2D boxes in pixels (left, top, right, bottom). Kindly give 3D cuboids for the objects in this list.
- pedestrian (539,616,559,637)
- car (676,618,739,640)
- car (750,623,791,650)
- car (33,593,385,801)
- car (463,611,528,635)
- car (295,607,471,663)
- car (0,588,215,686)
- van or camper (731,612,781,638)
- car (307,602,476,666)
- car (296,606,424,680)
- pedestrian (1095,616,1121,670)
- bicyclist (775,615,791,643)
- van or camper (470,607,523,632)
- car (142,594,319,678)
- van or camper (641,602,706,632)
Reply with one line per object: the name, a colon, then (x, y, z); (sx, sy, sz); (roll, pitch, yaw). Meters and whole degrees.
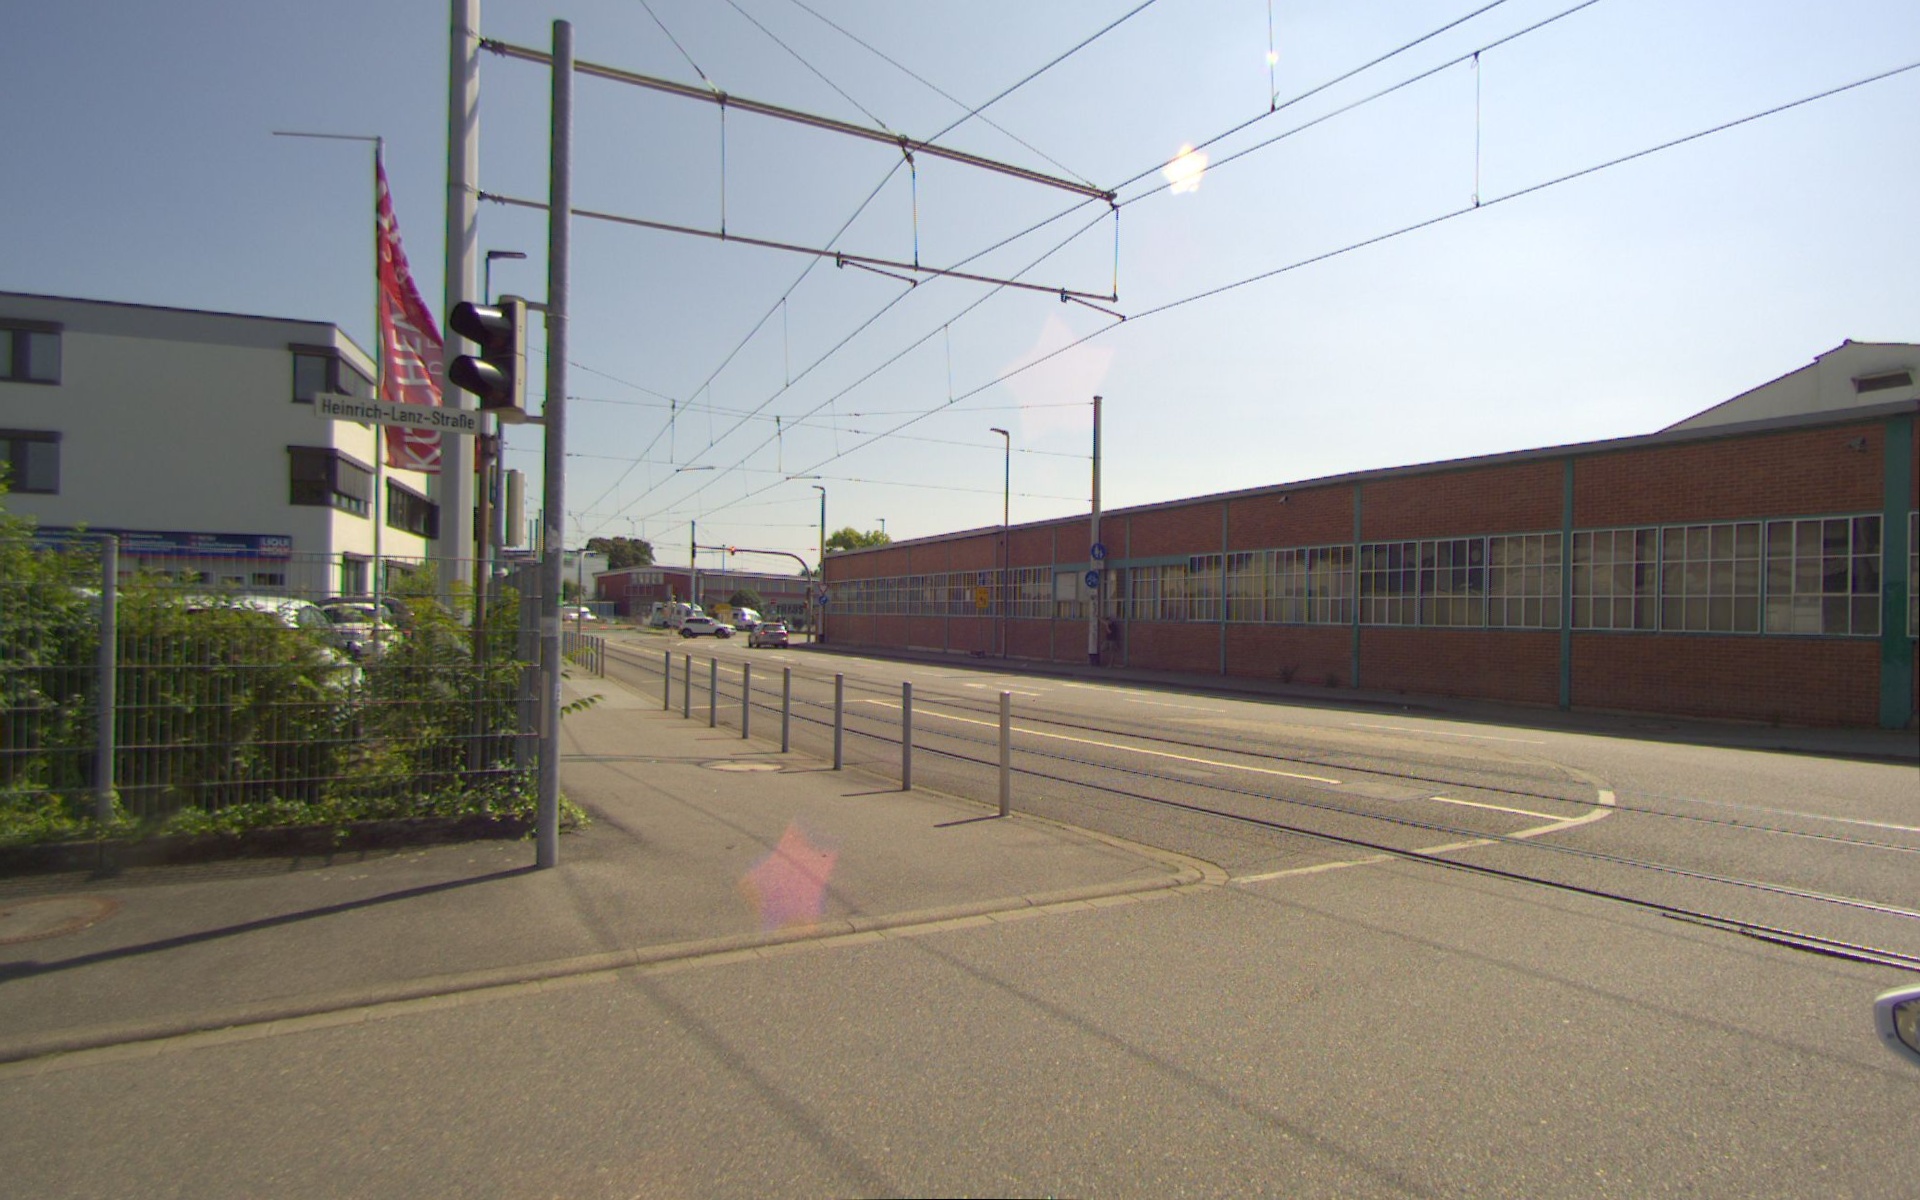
pedestrian: (-29.669, 1.925, 72.495); (1.122, 1.474, 0.829); (2, -1, -35)
car: (-19.515, 2.229, 77.849); (4.306, 1.599, 2.001); (1, -1, 5)
car: (-11.140, 2.109, 58.822); (1.726, 1.478, 3.981); (1, -1, -21)
car: (-6.499, 0.762, 9.202); (1.689, 1.452, 3.932); (2, -2, -24)
car: (-32.350, 1.601, 69.999); (3.942, 1.539, 1.989); (2, 1, -22)
car: (-15.123, 0.934, 26.556); (3.781, 1.388, 1.739); (2, -1, -22)
car: (-17.412, 0.732, 20.758); (1.968, 1.808, 3.986); (1, -1, -17)
van or camper: (-22.927, 2.803, 112.851); (5.289, 2.473, 2.285); (4, 2, 29)
car: (-16.067, 0.973, 28.627); (3.944, 1.728, 1.989); (1, -1, -24)
car: (-13.709, 0.948, 23.169); (1.714, 1.562, 3.821); (1, -1, -18)
pedestrian: (5.026, 1.452, 34.153); (0.675, 1.788, 0.447); (2, 1, -19)
bicyclist: (-11.175, 1.840, 63.476); (0.777, 1.744, 1.141); (2, -1, -21)
van or camper: (-44.642, 1.826, 96.719); (5.717, 2.327, 2.031); (0, -1, 36)
car: (-15.292, 0.738, 21.318); (1.827, 1.588, 3.920); (1, -1, -17)
van or camper: (-31.585, 1.851, 110.610); (6.852, 2.970, 2.352); (3, 1, 24)
